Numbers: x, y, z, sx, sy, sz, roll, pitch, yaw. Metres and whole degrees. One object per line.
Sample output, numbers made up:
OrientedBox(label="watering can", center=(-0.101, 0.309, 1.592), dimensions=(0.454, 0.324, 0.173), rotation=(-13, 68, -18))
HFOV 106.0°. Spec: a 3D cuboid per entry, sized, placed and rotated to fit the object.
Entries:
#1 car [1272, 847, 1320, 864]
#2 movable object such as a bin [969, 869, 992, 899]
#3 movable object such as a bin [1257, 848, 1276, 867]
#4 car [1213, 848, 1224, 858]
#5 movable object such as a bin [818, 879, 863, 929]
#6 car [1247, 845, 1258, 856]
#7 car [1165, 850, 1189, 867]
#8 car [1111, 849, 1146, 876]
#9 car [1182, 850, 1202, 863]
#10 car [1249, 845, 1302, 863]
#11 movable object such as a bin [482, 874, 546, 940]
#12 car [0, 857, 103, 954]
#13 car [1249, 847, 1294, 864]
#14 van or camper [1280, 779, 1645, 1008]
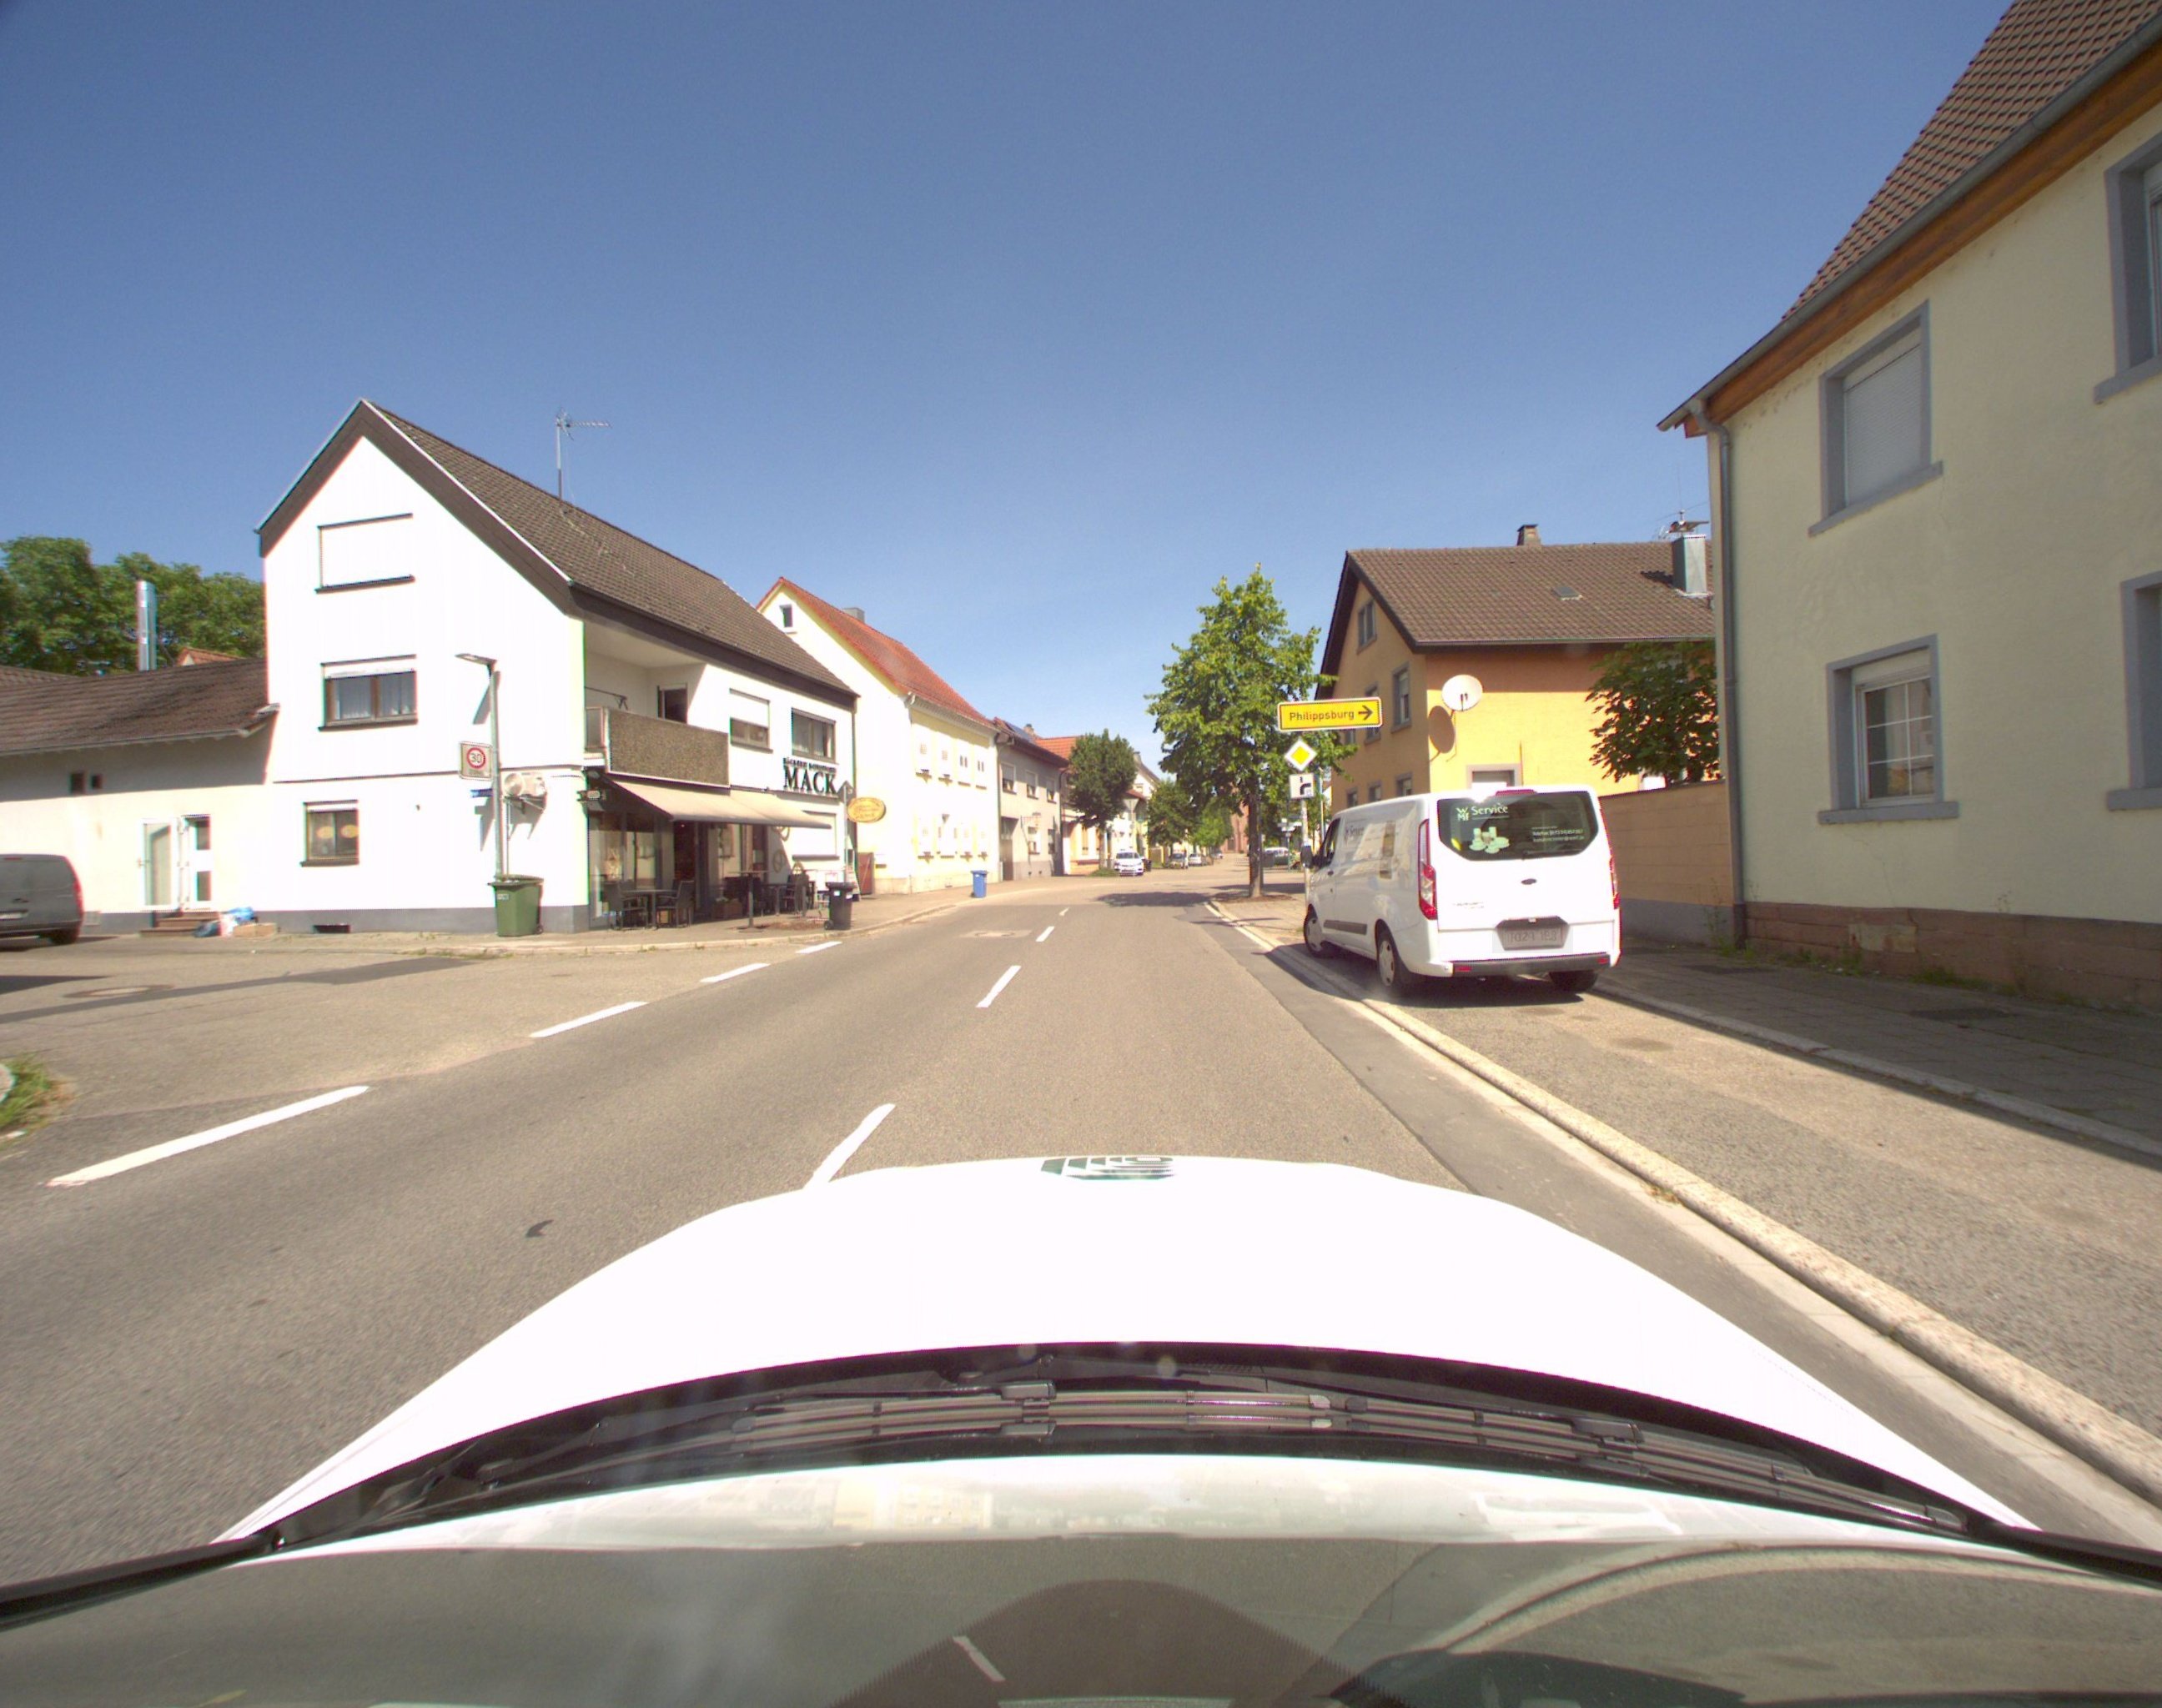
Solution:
OrientedBox(label="car", center=(18.571, 0.090, 70.433), dimensions=(3.898, 1.344, 2.007), rotation=(-1, 0, 12))
OrientedBox(label="movable object such as a bin", center=(-3.428, 1.005, 27.750), dimensions=(0.639, 0.980, 0.614), rotation=(-2, 0, 5))
OrientedBox(label="movable object such as a bin", center=(13.285, 0.248, 58.289), dimensions=(1.179, 1.338, 0.792), rotation=(-2, 0, 16))
OrientedBox(label="car", center=(27.071, -0.237, 160.720), dimensions=(1.982, 1.816, 4.010), rotation=(-2, 0, 9))
OrientedBox(label="movable object such as a bin", center=(-4.677, 0.966, 15.871), dimensions=(0.640, 0.924, 0.614), rotation=(-2, 0, 2))
OrientedBox(label="car", center=(36.859, -0.823, 174.747), dimensions=(2.230, 2.278, 4.518), rotation=(-1, -1, 12))
OrientedBox(label="car", center=(9.467, 0.443, 80.272), dimensions=(1.981, 1.574, 4.012), rotation=(-2, 0, 11))
OrientedBox(label="car", center=(2.789, 0.466, 48.230), dimensions=(1.843, 1.440, 4.514), rotation=(-1, 0, 1))
OrientedBox(label="car", center=(12.375, 0.257, 91.032), dimensions=(1.984, 1.464, 4.006), rotation=(-1, 0, 6))
OrientedBox(label="car", center=(18.411, 0.017, 77.177), dimensions=(4.771, 1.623, 2.007), rotation=(-1, 0, 12))
OrientedBox(label="movable object such as a bin", center=(-10.326, 0.960, 14.834), dimensions=(0.667, 1.137, 0.647), rotation=(-2, 0, 14))
OrientedBox(label="car", center=(-21.516, 0.985, 15.768), dimensions=(3.723, 1.759, 1.881), rotation=(-1, 0, 15))
OrientedBox(label="car", center=(18.642, 0.158, 79.820), dimensions=(4.122, 1.568, 2.007), rotation=(-1, 0, 12))
OrientedBox(label="van or camper", center=(3.963, 0.335, 9.749), dimensions=(1.986, 1.953, 5.348), rotation=(-1, 0, 2))
